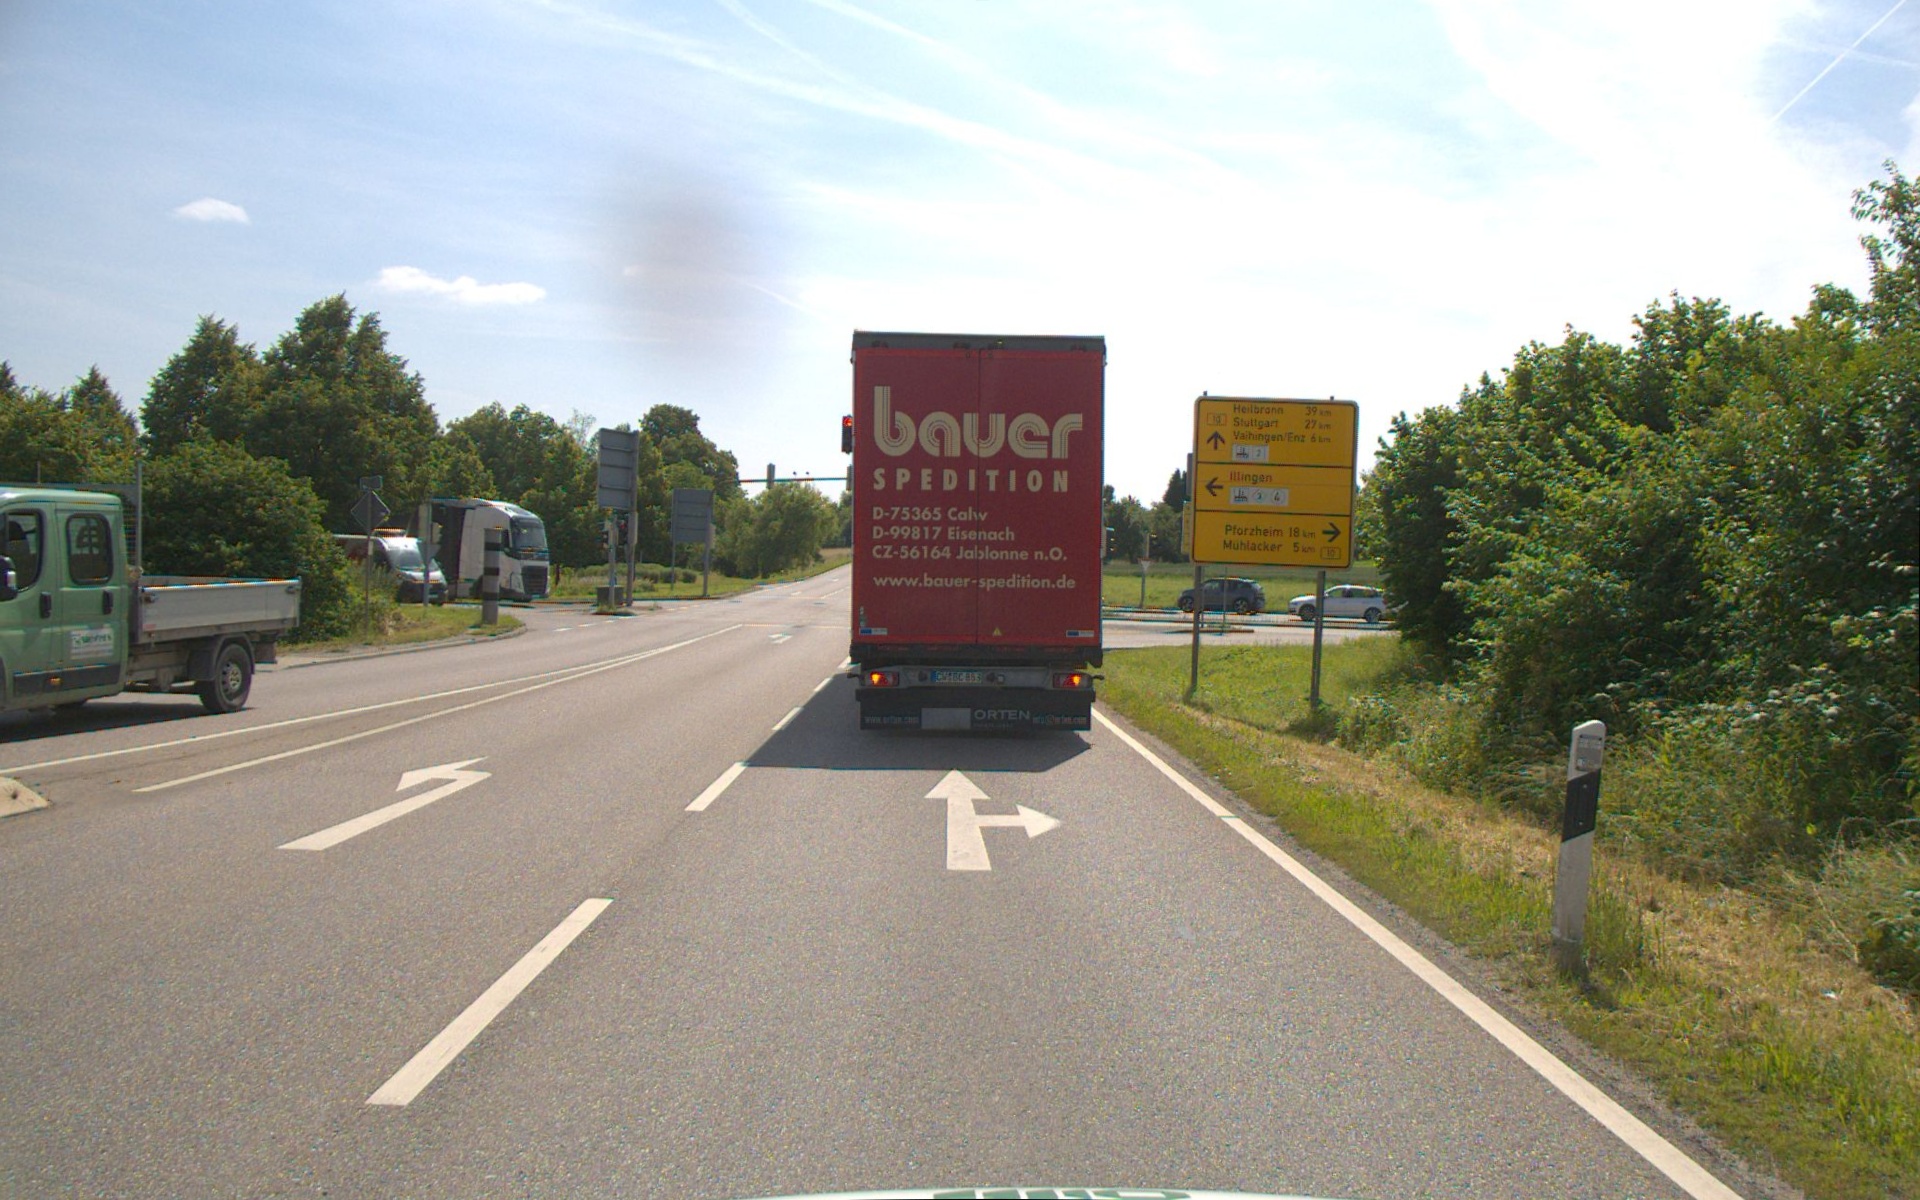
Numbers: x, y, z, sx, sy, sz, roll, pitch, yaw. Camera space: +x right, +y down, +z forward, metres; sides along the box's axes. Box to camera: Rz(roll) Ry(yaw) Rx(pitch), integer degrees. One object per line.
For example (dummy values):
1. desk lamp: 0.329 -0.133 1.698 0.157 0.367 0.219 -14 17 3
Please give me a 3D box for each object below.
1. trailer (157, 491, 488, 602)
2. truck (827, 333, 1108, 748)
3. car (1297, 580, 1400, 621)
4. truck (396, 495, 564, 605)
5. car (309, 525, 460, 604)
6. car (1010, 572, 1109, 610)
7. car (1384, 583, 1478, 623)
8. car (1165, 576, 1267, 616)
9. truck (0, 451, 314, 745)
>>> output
1. trailer: -25.927 -2.217 67.171 13.394 4.131 2.801 2 1 14
2. truck: -0.160 -0.708 24.474 2.679 3.993 16.621 1 1 -2
3. car: 15.918 0.035 67.765 4.012 1.574 1.875 1 0 14
4. truck: -18.932 -1.980 65.351 5.702 4.131 2.801 2 1 14
5. car: -20.701 -1.287 59.364 5.866 2.701 2.116 2 0 36
6. car: 4.236 -0.366 70.327 3.902 1.454 2.002 2 0 12
7. car: 20.030 0.124 70.497 3.745 1.662 1.762 1 0 14
8. car: 11.500 -0.196 74.257 4.198 1.685 1.695 1 0 33
9. truck: -8.763 -0.036 15.623 2.194 2.417 6.355 1 0 7
